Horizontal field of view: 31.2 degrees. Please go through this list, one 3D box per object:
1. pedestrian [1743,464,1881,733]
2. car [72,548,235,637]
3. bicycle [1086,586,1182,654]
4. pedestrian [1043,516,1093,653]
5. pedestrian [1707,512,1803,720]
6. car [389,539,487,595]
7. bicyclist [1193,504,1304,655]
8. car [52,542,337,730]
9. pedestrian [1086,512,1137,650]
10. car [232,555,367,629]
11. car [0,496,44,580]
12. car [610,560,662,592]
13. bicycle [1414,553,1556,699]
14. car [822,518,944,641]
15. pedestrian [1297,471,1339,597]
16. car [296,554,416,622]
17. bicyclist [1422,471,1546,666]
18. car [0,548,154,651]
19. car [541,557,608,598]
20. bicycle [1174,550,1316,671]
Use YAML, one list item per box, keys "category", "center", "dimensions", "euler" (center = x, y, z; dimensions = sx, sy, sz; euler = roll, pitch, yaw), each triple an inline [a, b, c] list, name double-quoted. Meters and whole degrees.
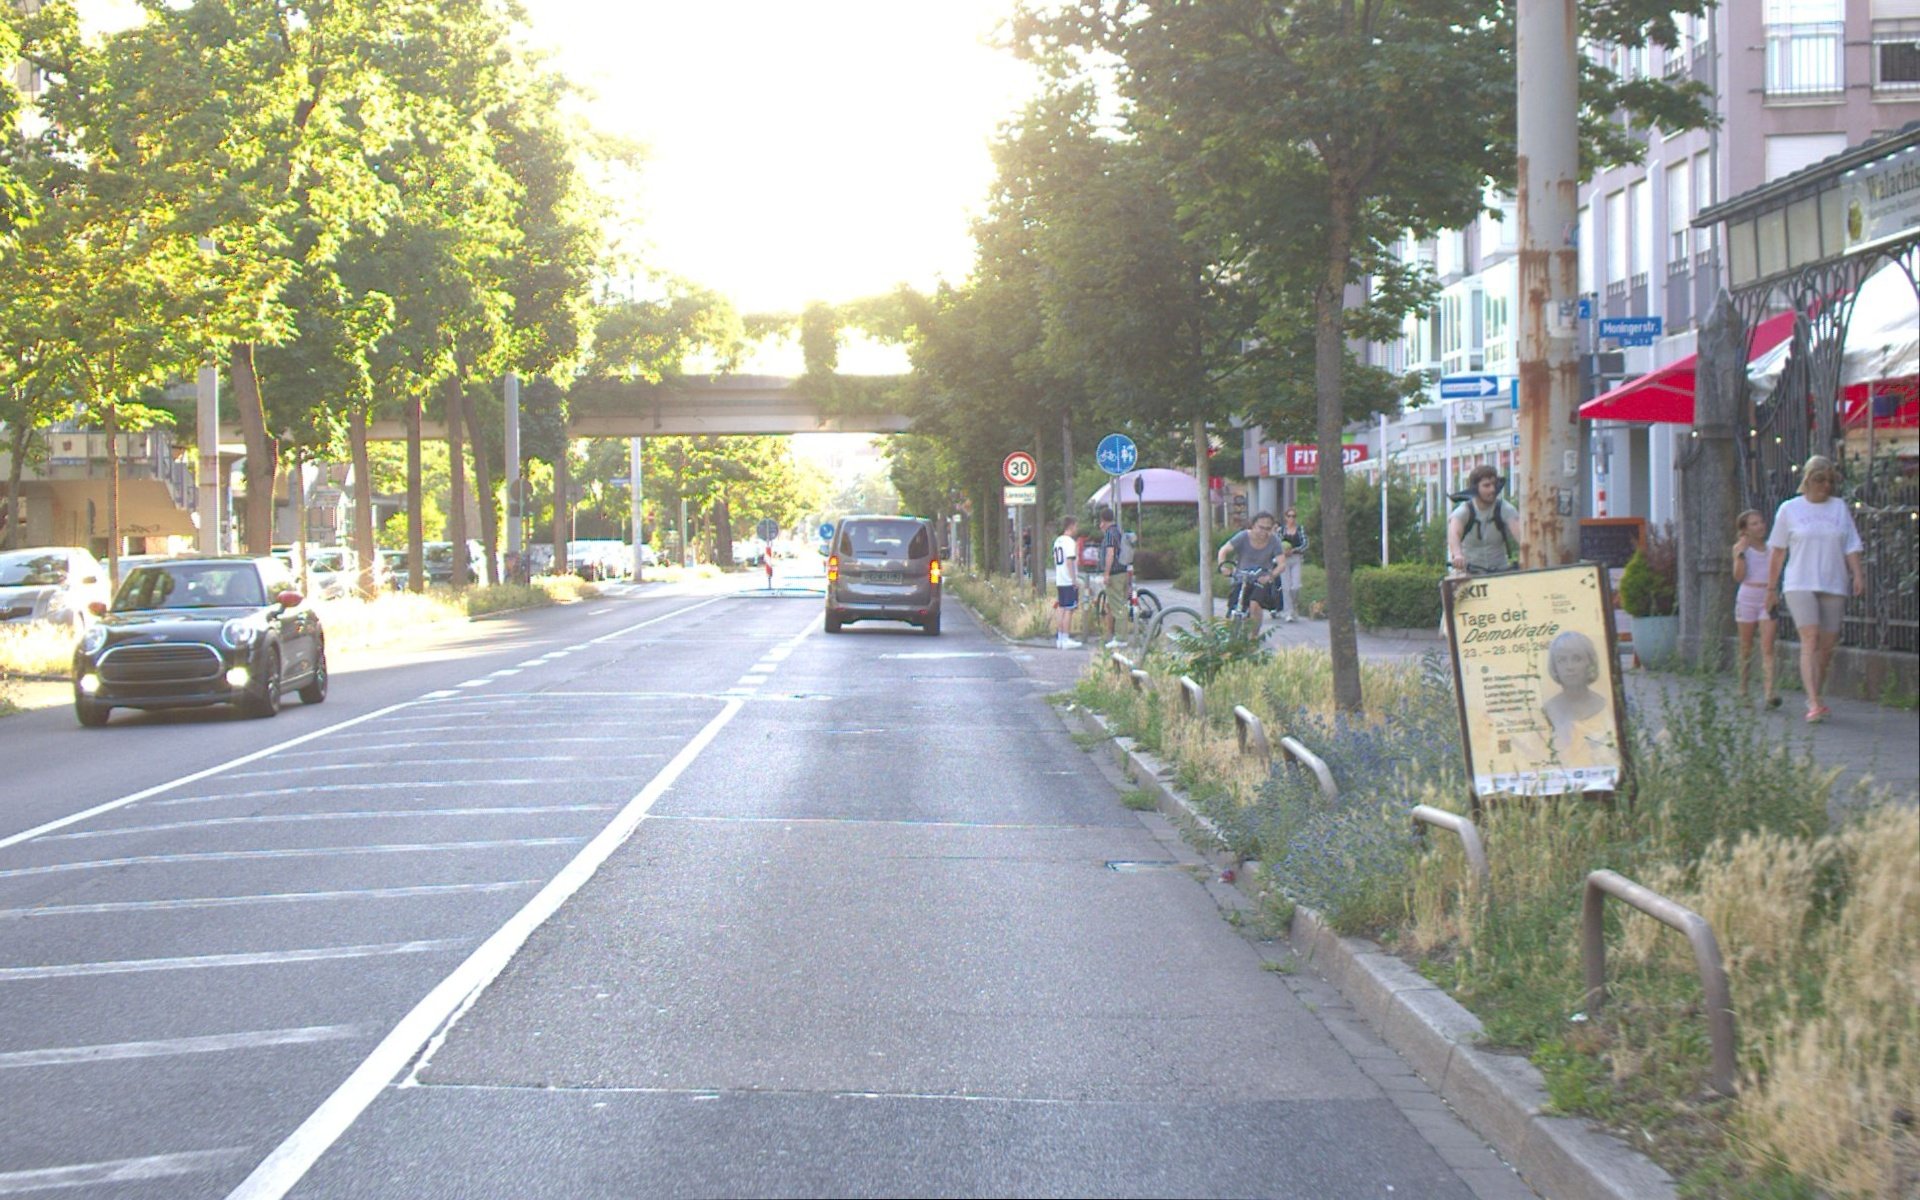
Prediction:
- category: "pedestrian"
  center: [5.273, -0.016, 21.299]
  dimensions: [0.644, 1.627, 0.656]
  euler: [1, 1, -1]
- category: "car"
  center: [-12.651, -0.141, 54.124]
  dimensions: [1.671, 1.309, 3.965]
  euler: [1, 1, -1]
- category: "bicycle"
  center: [2.421, 0.272, 48.079]
  dimensions: [0.588, 0.894, 1.988]
  euler: [1, 1, -20]
- category: "pedestrian"
  center: [1.499, -0.224, 47.732]
  dimensions: [0.504, 1.882, 0.545]
  euler: [1, 1, -16]
- category: "pedestrian"
  center: [5.244, 0.102, 22.688]
  dimensions: [0.467, 1.346, 0.530]
  euler: [1, 1, -1]
- category: "car"
  center: [-13.876, -0.884, 91.512]
  dimensions: [1.993, 1.409, 4.237]
  euler: [1, 1, -1]
- category: "bicyclist"
  center: [3.032, -0.216, 36.077]
  dimensions: [0.753, 1.552, 0.936]
  euler: [2, 1, 36]
- category: "car"
  center: [-6.811, 0.273, 30.963]
  dimensions: [1.679, 1.525, 4.000]
  euler: [-2, 1, -1]
- category: "pedestrian"
  center: [2.084, -0.262, 47.277]
  dimensions: [0.504, 1.882, 0.545]
  euler: [1, 1, -16]
- category: "car"
  center: [-13.515, -0.180, 70.529]
  dimensions: [1.993, 1.409, 4.237]
  euler: [1, 1, -1]
- category: "car"
  center: [-27.412, -1.770, 96.606]
  dimensions: [1.993, 2.300, 5.245]
  euler: [1, 1, -1]
- category: "car"
  center: [-14.799, -1.101, 157.086]
  dimensions: [1.993, 1.409, 4.237]
  euler: [1, 1, -1]
- category: "bicycle"
  center: [3.404, 0.148, 22.418]
  dimensions: [0.579, 0.894, 1.987]
  euler: [1, 1, -1]
- category: "car"
  center: [-1.231, -0.366, 56.255]
  dimensions: [1.887, 1.918, 3.839]
  euler: [-1, 1, 0]
- category: "pedestrian"
  center: [7.326, -1.350, 70.389]
  dimensions: [0.715, 2.530, 0.824]
  euler: [1, 1, -1]
- category: "car"
  center: [-13.557, -0.290, 77.343]
  dimensions: [1.993, 1.409, 4.237]
  euler: [1, 1, -1]
- category: "bicyclist"
  center: [3.413, -0.209, 22.444]
  dimensions: [0.585, 1.232, 1.112]
  euler: [1, 1, -1]
- category: "car"
  center: [-12.524, -0.040, 47.203]
  dimensions: [1.993, 1.305, 4.066]
  euler: [1, 1, -1]
- category: "car"
  center: [-14.025, -0.829, 125.275]
  dimensions: [1.993, 1.409, 4.237]
  euler: [1, 1, -1]
- category: "bicycle"
  center: [3.005, 0.107, 36.083]
  dimensions: [0.547, 1.222, 1.983]
  euler: [2, 1, 35]
